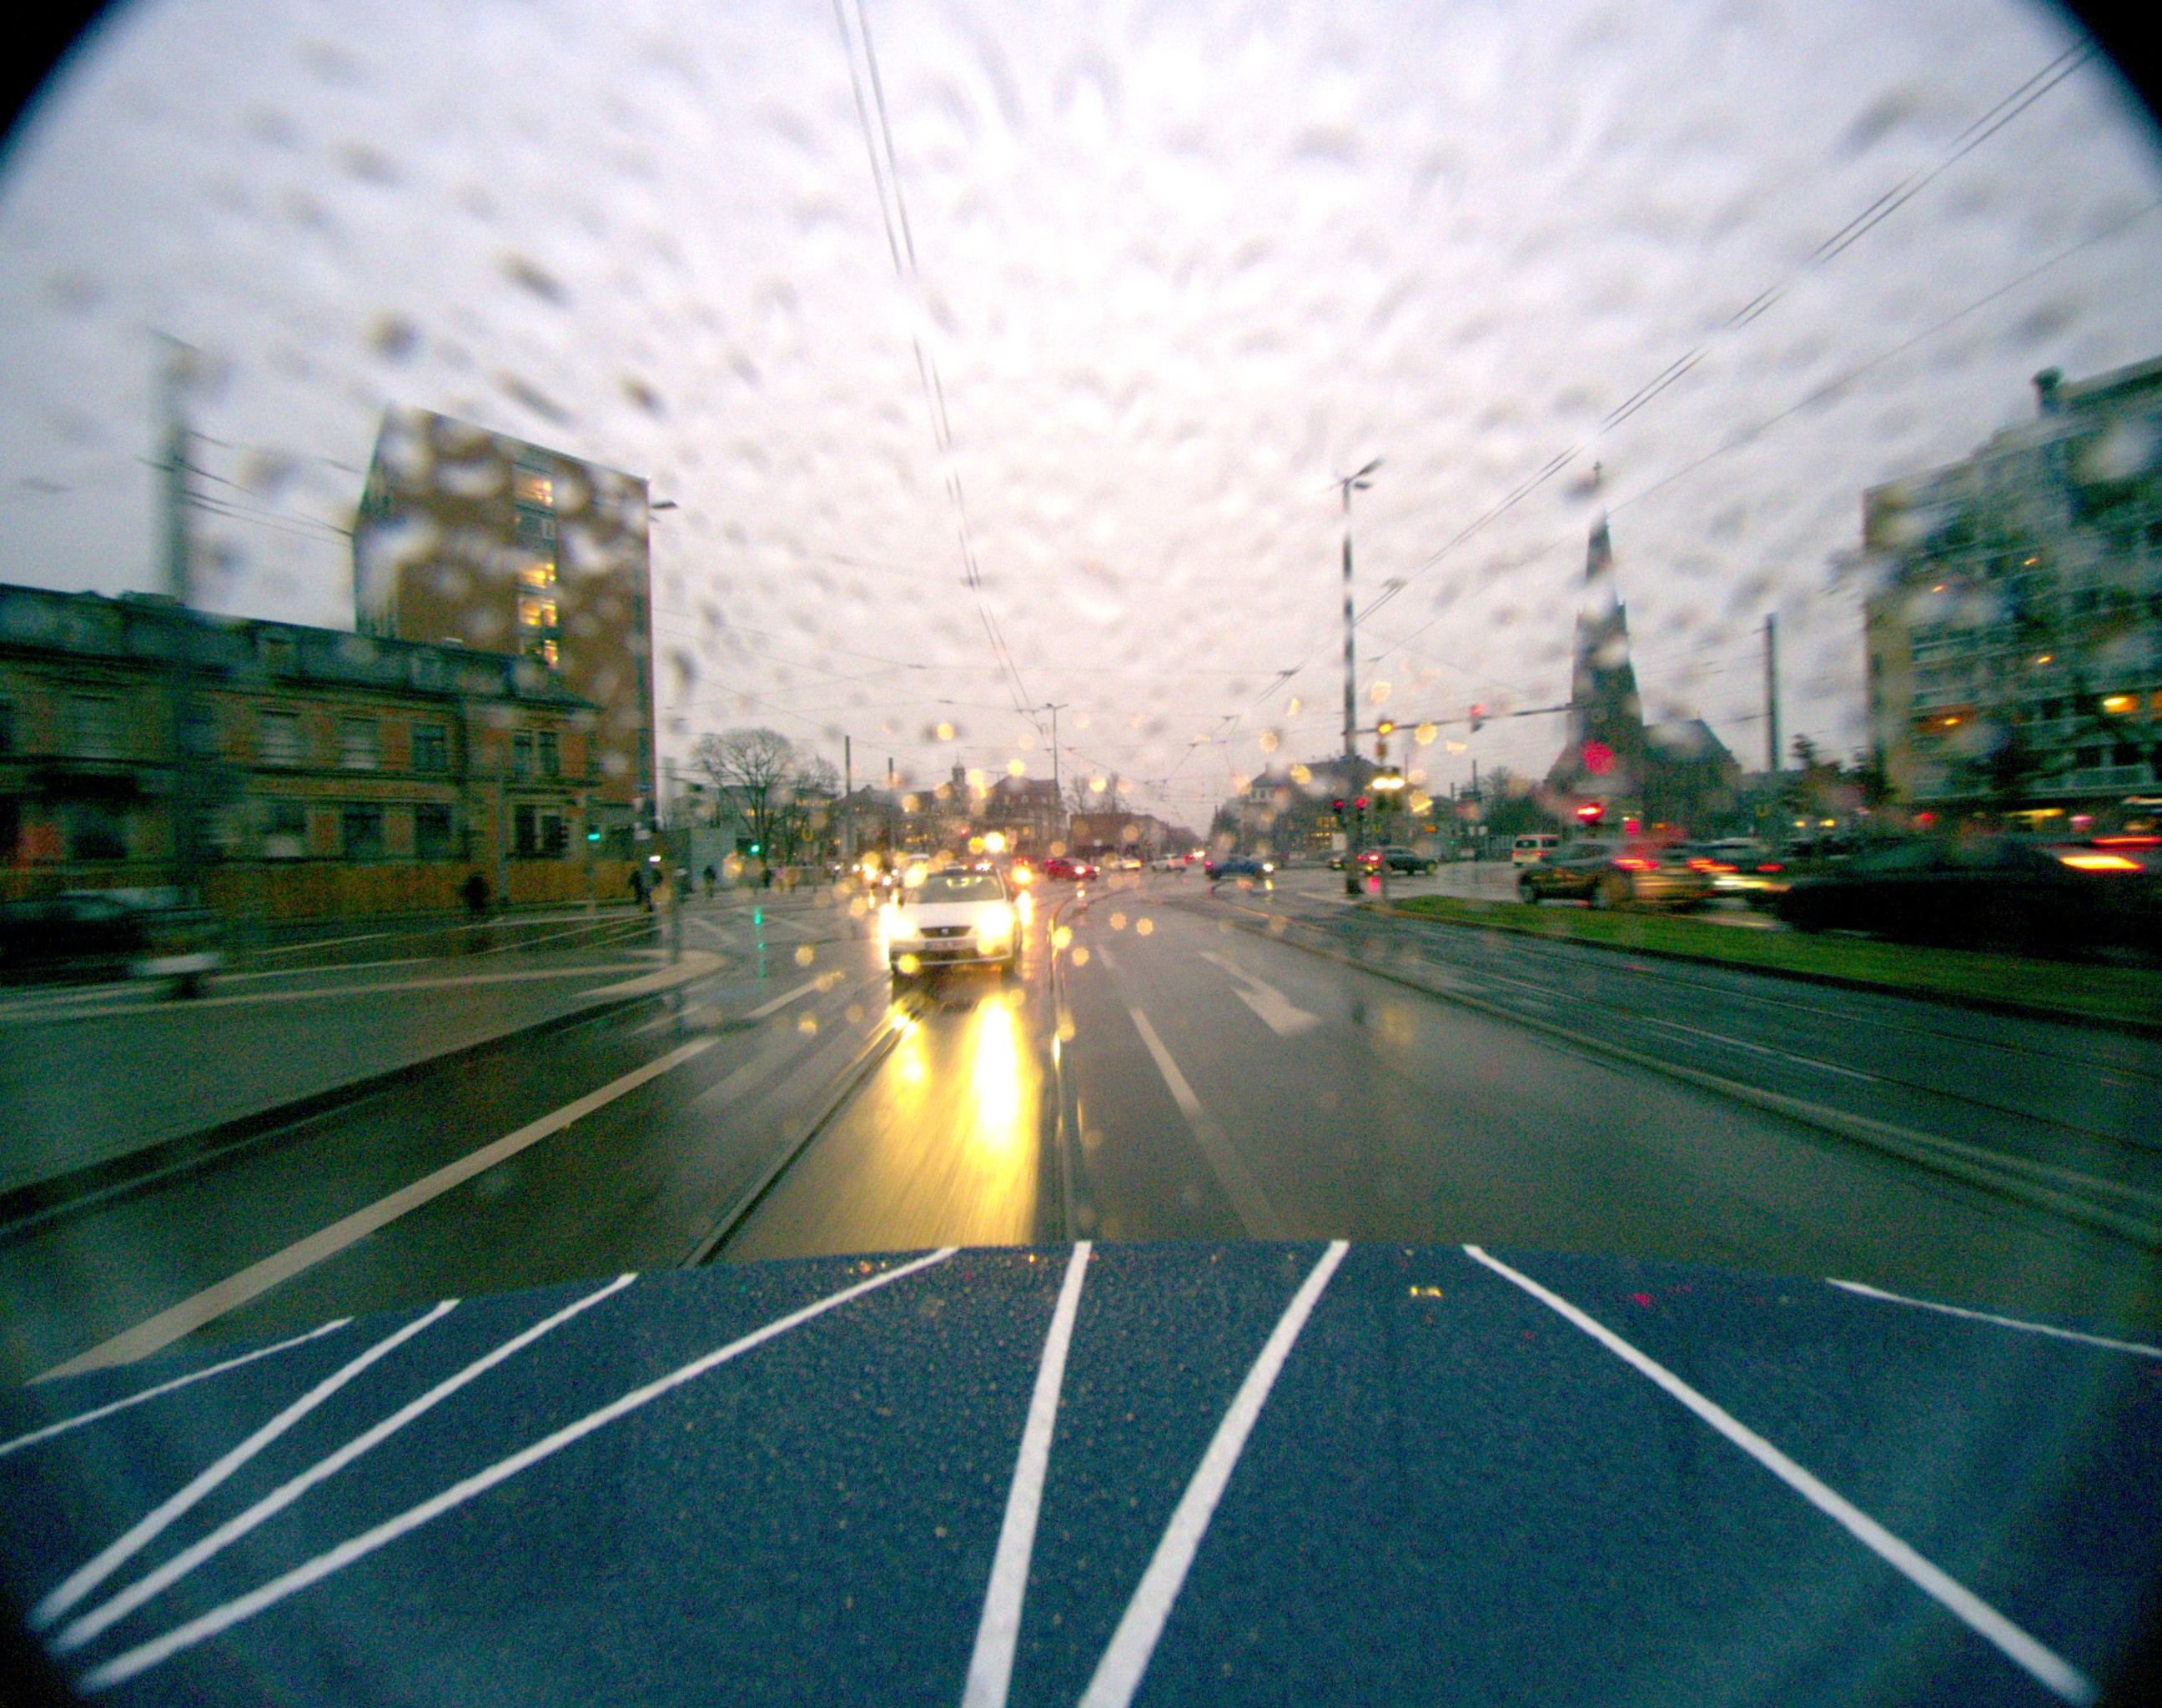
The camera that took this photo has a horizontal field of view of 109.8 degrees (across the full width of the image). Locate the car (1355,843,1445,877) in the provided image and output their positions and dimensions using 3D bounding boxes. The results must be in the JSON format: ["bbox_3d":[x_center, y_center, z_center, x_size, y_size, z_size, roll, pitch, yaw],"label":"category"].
[{"bbox_3d":[18.400,0.314,43.866,4.568,1.783,1.823,-2,1,-12],"label":"car"}]

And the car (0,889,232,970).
[{"bbox_3d":[-21.691,1.616,16.733,3.755,1.394,1.614,-4,2,-42],"label":"car"}]

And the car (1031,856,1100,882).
[{"bbox_3d":[-1.024,0.986,48.953,4.084,1.521,2.004,-2,1,42],"label":"car"}]

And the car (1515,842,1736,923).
[{"bbox_3d":[11.528,0.530,16.497,1.905,1.477,3.999,-2,0,0],"label":"car"}]

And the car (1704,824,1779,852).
[{"bbox_3d":[51.115,-1.204,58.900,3.990,2.002,2.003,-2,1,24],"label":"car"}]

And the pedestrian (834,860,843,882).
[{"bbox_3d":[-19.618,1.342,61.416,0.638,1.752,0.510,-2,1,-14],"label":"pedestrian"}]

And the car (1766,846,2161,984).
[{"bbox_3d":[11.374,0.601,9.575,1.876,1.382,4.000,0,0,1],"label":"car"}]

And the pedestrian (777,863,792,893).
[{"bbox_3d":[-17.993,1.434,46.158,0.651,1.811,0.637,-2,1,-35],"label":"pedestrian"}]

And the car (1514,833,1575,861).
[{"bbox_3d":[31.676,-0.514,51.849,4.575,1.783,1.821,-2,1,-35],"label":"car"}]

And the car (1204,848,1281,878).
[{"bbox_3d":[9.444,0.525,44.364,4.256,1.559,1.827,-2,1,14],"label":"car"}]

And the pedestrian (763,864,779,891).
[{"bbox_3d":[-18.937,1.413,46.382,0.710,1.610,0.747,-2,1,-35],"label":"pedestrian"}]

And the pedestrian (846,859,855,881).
[{"bbox_3d":[-18.702,1.304,61.678,0.638,1.752,0.510,-2,1,-14],"label":"pedestrian"}]

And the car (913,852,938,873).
[{"bbox_3d":[-14.828,0.800,72.432,2.020,1.809,3.683,-2,1,-15],"label":"car"}]

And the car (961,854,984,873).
[{"bbox_3d":[-11.801,0.994,82.603,1.827,1.922,3.994,-2,0,-18],"label":"car"}]

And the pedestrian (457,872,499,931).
[{"bbox_3d":[-17.305,1.352,21.822,0.821,1.610,0.747,-2,1,-35],"label":"pedestrian"}]

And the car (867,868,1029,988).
[{"bbox_3d":[-1.857,0.995,11.830,1.797,1.415,3.999,-2,0,0],"label":"car"}]

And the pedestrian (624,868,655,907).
[{"bbox_3d":[-19.223,1.444,33.095,0.818,1.667,0.749,-2,1,8],"label":"pedestrian"}]

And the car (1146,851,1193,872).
[{"bbox_3d":[7.754,0.645,66.945,2.003,1.688,4.473,-2,0,-26],"label":"car"}]

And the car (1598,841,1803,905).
[{"bbox_3d":[14.854,0.399,18.554,1.728,1.350,3.999,-2,0,0],"label":"car"}]

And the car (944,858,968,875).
[{"bbox_3d":[-12.405,1.255,75.222,1.827,1.565,3.994,-2,0,-18],"label":"car"}]

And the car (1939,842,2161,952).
[{"bbox_3d":[15.008,0.555,10.844,1.604,1.410,3.471,-2,0,1],"label":"car"}]

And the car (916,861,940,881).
[{"bbox_3d":[-12.482,1.364,61.924,1.829,1.499,3.800,-2,0,-11],"label":"car"}]

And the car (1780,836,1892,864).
[{"bbox_3d":[39.834,-0.188,40.139,2.003,1.302,3.989,-3,1,-39],"label":"car"}]

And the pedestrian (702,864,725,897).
[{"bbox_3d":[-18.530,1.328,38.300,0.881,1.610,0.747,-2,1,-35],"label":"pedestrian"}]

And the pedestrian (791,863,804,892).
[{"bbox_3d":[-17.175,1.428,46.053,0.511,1.752,0.637,-2,1,-35],"label":"pedestrian"}]

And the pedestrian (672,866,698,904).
[{"bbox_3d":[-17.752,1.376,34.080,0.881,1.610,0.747,-2,1,-35],"label":"pedestrian"}]

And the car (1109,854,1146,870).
[{"bbox_3d":[4.582,0.798,75.223,2.002,1.434,4.475,-2,0,-20],"label":"car"}]

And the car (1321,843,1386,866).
[{"bbox_3d":[20.314,0.043,56.729,3.999,1.543,1.998,-2,1,-8],"label":"car"}]

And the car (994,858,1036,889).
[{"bbox_3d":[-3.386,0.969,39.357,1.797,1.415,3.999,-2,0,0],"label":"car"}]

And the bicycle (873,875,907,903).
[{"bbox_3d":[-7.418,1.344,29.622,0.725,0.985,2.212,-2,0,1],"label":"bicycle"}]

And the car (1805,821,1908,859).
[{"bbox_3d":[45.039,-0.783,44.213,2.003,2.002,3.989,-3,1,-39],"label":"car"}]

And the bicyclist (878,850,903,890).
[{"bbox_3d":[-7.453,0.616,29.716,0.727,1.525,0.785,-2,1,1],"label":"bicyclist"}]

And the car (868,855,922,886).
[{"bbox_3d":[-12.105,1.014,49.859,1.998,1.827,4.871,-2,0,3],"label":"car"}]
